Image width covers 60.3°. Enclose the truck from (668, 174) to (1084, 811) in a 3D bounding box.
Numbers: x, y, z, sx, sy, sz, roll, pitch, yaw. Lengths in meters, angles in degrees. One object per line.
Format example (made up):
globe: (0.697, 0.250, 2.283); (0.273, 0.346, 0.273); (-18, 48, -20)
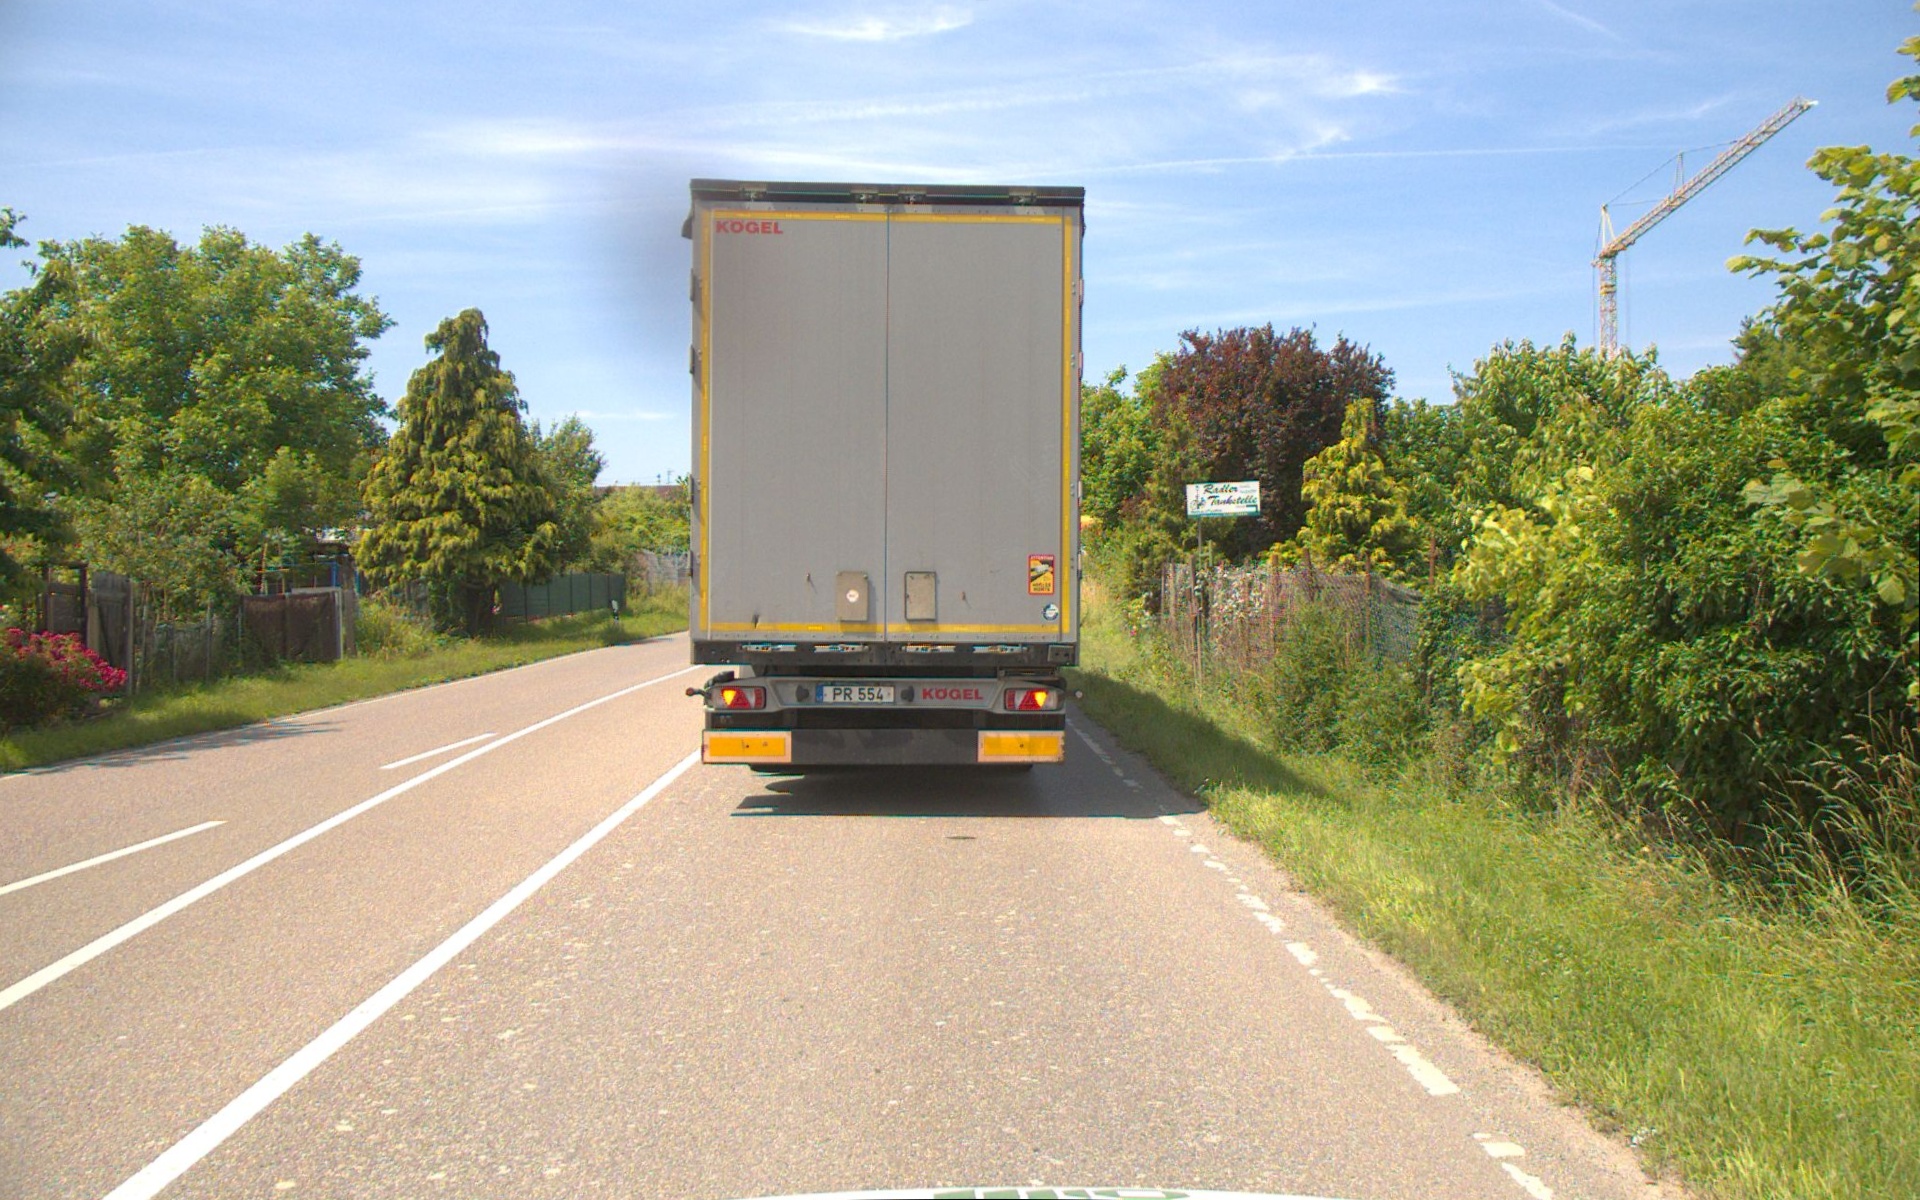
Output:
truck: (-0.738, -0.717, 14.833); (2.594, 3.985, 8.820); (0, 1, -3)
